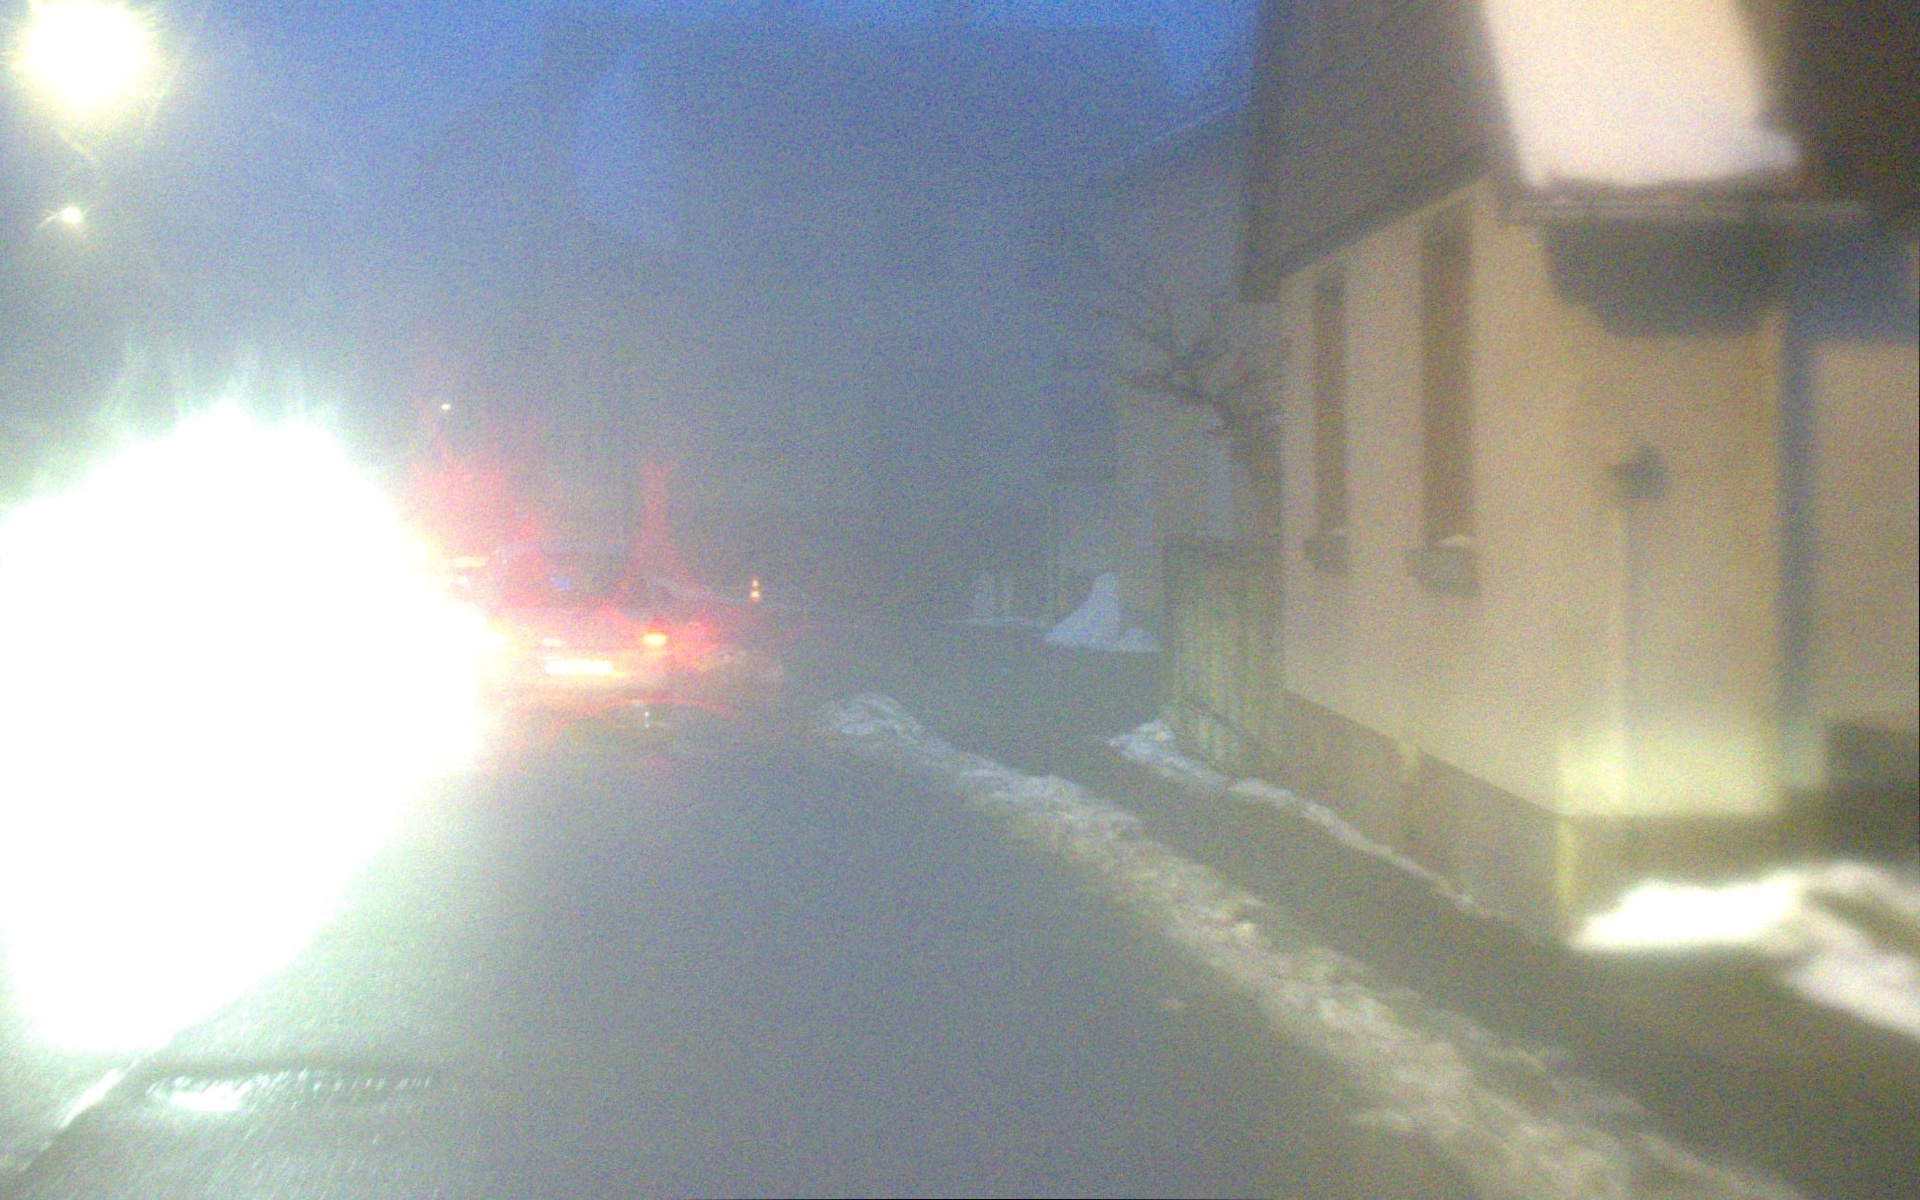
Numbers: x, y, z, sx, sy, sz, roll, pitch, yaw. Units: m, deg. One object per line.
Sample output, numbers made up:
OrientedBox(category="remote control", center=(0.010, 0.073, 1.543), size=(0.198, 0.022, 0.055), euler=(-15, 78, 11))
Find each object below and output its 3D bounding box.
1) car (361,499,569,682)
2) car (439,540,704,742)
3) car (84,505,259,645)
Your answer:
OrientedBox(category="car", center=(-5.879, -0.083, 41.285), size=(1.993, 2.007, 4.000), euler=(2, -1, -2))
OrientedBox(category="car", center=(-3.323, 0.339, 28.790), size=(1.993, 1.503, 4.001), euler=(2, -1, -9))
OrientedBox(category="car", center=(-10.060, -0.299, 44.126), size=(1.840, 1.681, 4.479), euler=(-1, 0, -9))
